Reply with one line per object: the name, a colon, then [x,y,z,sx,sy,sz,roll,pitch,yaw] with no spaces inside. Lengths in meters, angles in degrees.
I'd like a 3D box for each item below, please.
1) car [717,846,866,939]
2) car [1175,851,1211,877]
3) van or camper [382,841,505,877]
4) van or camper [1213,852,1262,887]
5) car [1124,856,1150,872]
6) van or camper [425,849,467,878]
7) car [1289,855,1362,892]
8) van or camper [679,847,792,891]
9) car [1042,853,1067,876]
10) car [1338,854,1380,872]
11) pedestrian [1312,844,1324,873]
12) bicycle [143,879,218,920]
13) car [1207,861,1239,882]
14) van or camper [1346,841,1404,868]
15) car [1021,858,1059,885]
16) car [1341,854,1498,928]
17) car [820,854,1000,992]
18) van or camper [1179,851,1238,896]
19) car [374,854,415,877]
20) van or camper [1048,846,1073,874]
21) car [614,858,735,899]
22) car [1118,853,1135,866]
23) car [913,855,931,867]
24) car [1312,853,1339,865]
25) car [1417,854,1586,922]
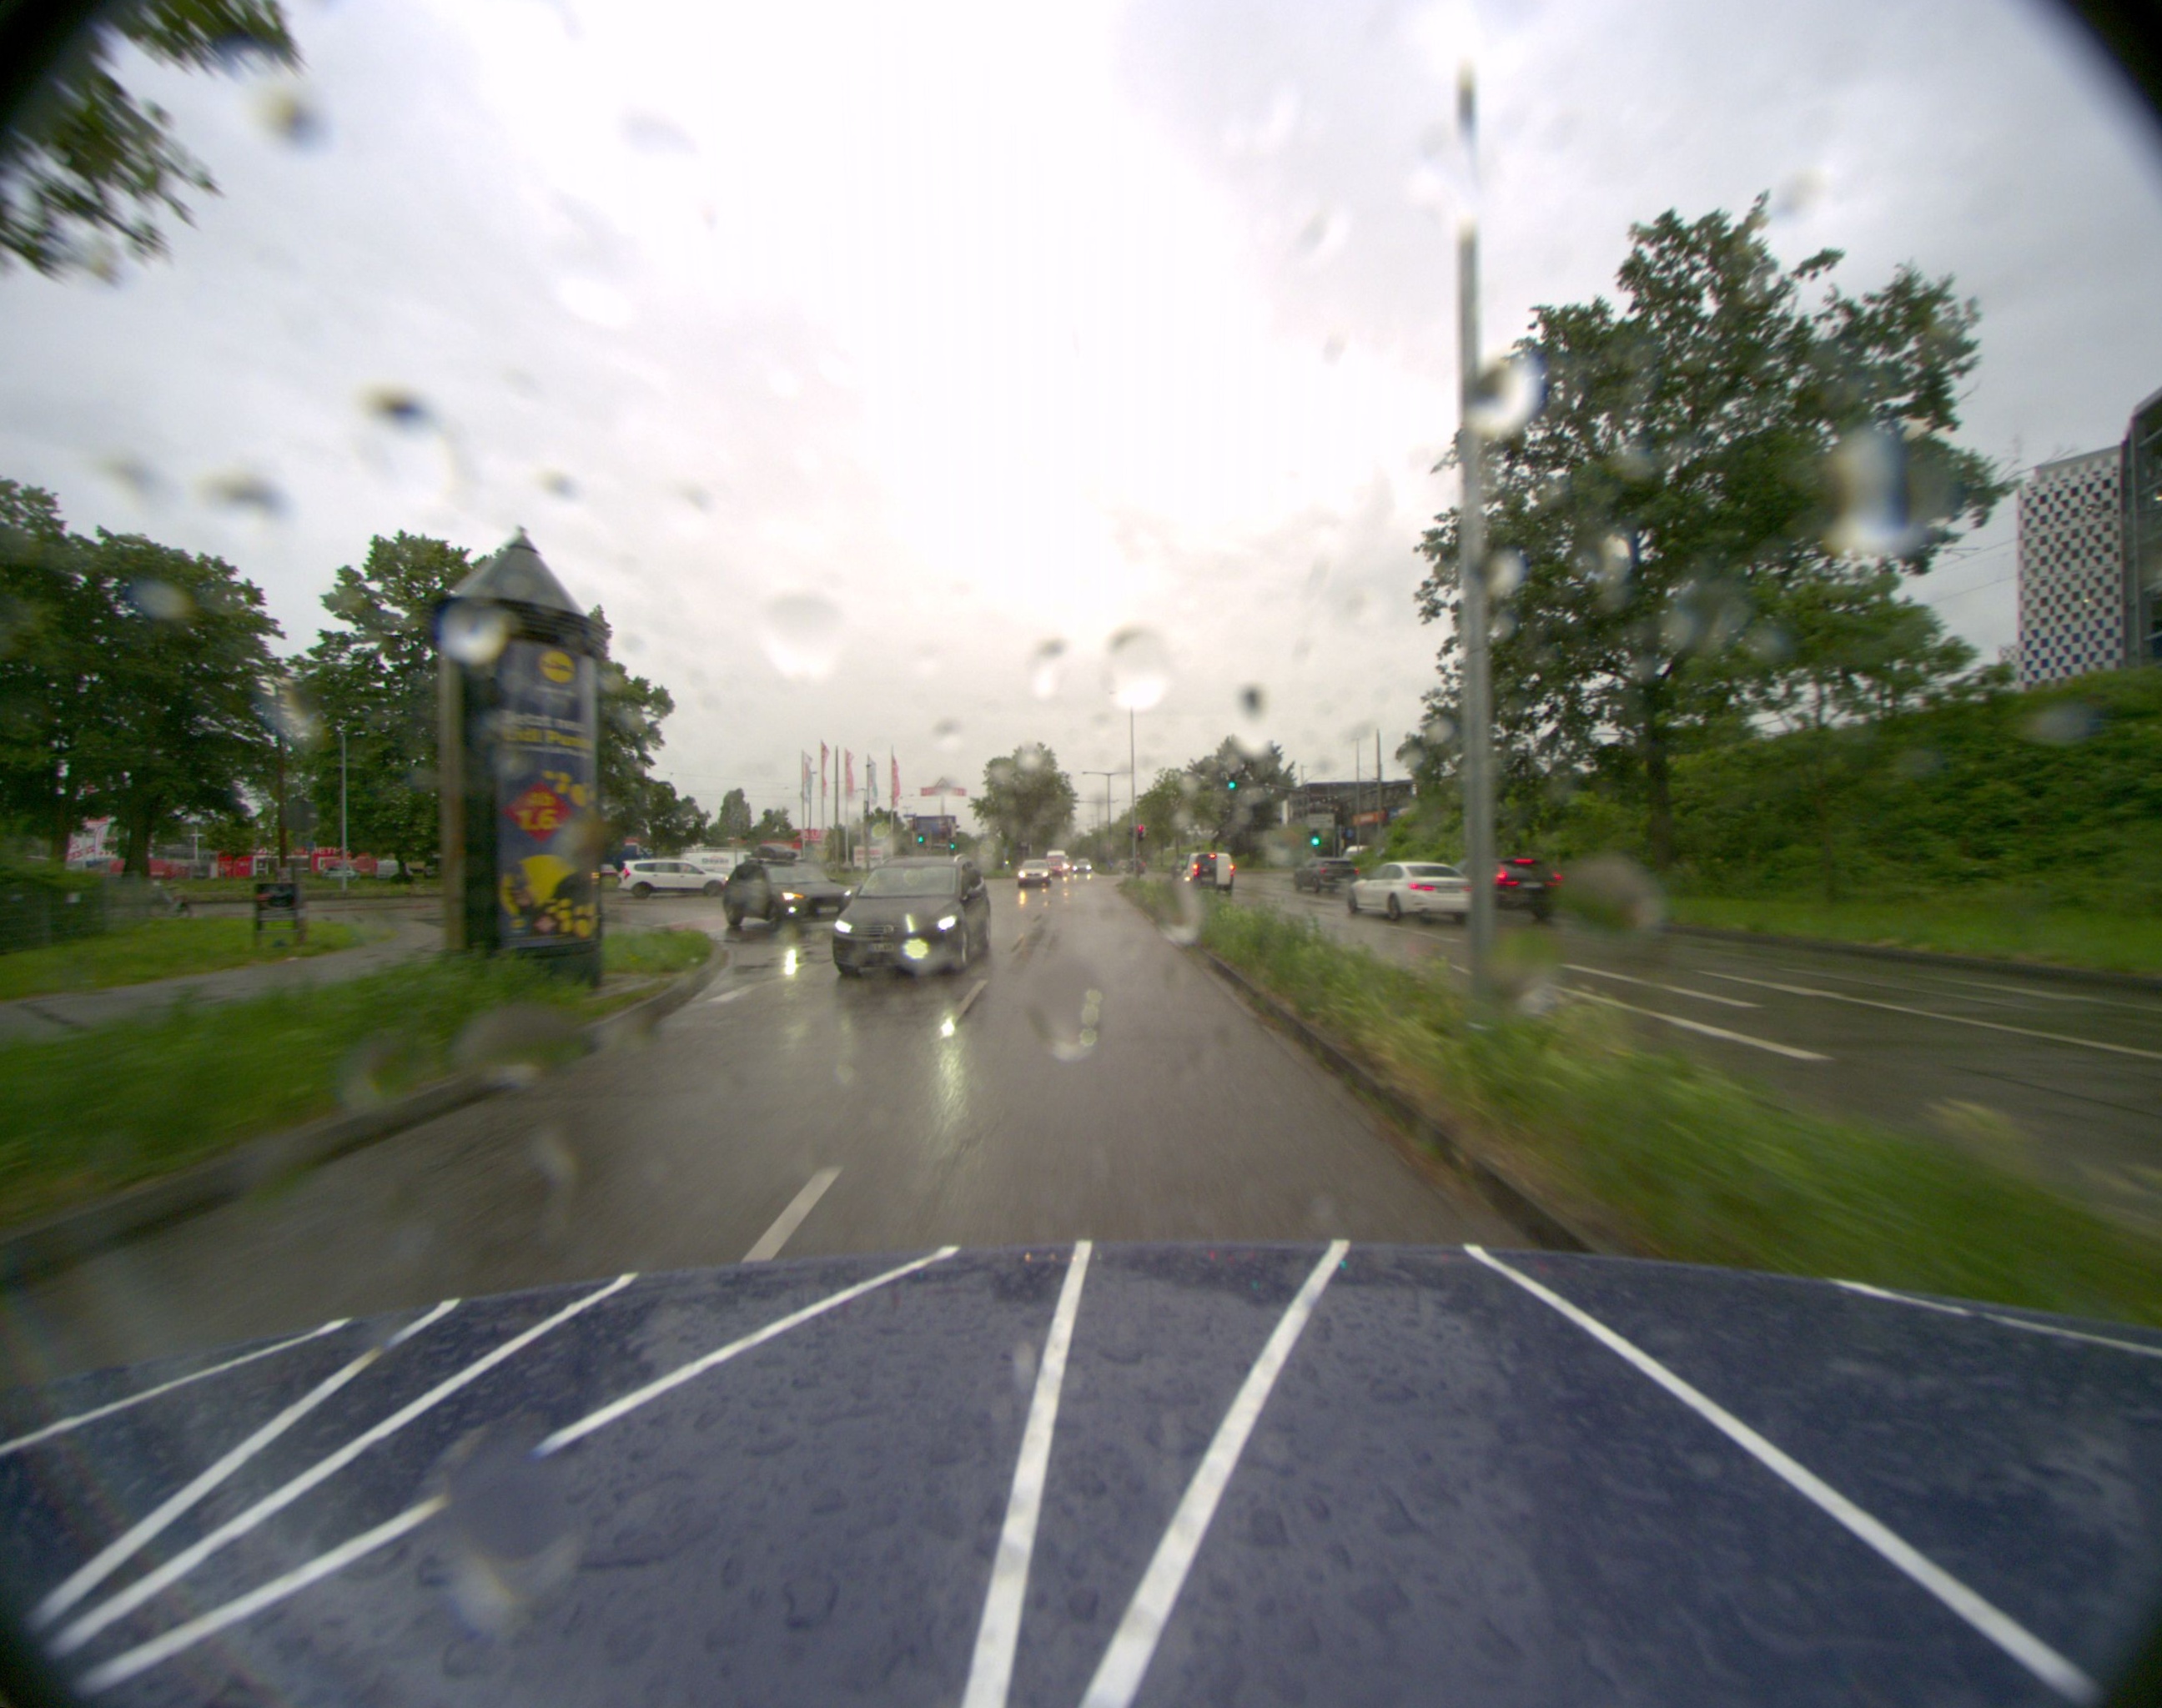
car: [-7.414,0.841,19.165,1.936,2.044,4.742,-1,1,-42]
car: [7.292,0.622,49.830,1.780,1.552,3.773,-2,0,1]
van or camper: [-63.199,0.409,75.713,8.994,3.139,2.979,-3,2,-35]
van or camper: [8.399,0.795,41.014,1.705,1.774,4.220,1,0,-1]
car: [6.004,1.042,82.015,1.977,1.592,4.385,0,0,-6]
van or camper: [-50.937,0.735,61.043,2.138,2.286,4.455,-1,0,-35]
car: [11.200,0.848,35.162,1.903,1.603,4.405,0,0,-1]
van or camper: [-17.387,0.709,38.374,4.918,2.076,1.863,0,1,-38]
car: [-2.081,0.802,61.086,1.699,1.759,4.558,-1,0,1]
car: [24.539,0.768,67.008,3.572,1.592,1.650,0,1,-31]
pedestrian: [14.296,0.267,45.814,0.485,1.777,0.626,-1,1,-8]
bicycle: [-24.561,1.233,20.726,1.621,1.032,0.814,0,1,21]
car: [10.804,1.316,57.930,1.676,1.535,3.787,1,0,-1]
van or camper: [29.909,-0.004,77.243,6.941,2.647,1.995,-1,1,-35]
car: [-2.281,0.946,42.827,1.807,1.422,4.386,-1,0,1]
car: [8.477,0.845,19.567,1.903,1.603,4.711,1,0,0]
car: [-2.457,0.903,12.016,1.861,1.716,4.190,-2,0,0]
van or camper: [5.341,0.776,32.316,1.733,1.732,3.999,1,0,-1]
car: [-53.859,0.904,59.660,1.870,1.718,3.957,0,0,-35]
van or camper: [-1.985,0.595,75.049,2.100,2.579,4.776,-2,0,1]
car: [-18.009,1.025,33.727,4.470,1.663,1.863,0,1,-38]
car: [5.900,0.719,98.129,1.697,1.592,3.622,0,0,-5]
car: [-23.073,1.011,110.205,1.822,1.610,3.999,0,1,-2]
car: [27.344,0.553,84.881,1.689,1.339,3.476,0,1,41]
car: [11.368,0.830,21.011,2.042,1.651,4.678,0,0,-1]
